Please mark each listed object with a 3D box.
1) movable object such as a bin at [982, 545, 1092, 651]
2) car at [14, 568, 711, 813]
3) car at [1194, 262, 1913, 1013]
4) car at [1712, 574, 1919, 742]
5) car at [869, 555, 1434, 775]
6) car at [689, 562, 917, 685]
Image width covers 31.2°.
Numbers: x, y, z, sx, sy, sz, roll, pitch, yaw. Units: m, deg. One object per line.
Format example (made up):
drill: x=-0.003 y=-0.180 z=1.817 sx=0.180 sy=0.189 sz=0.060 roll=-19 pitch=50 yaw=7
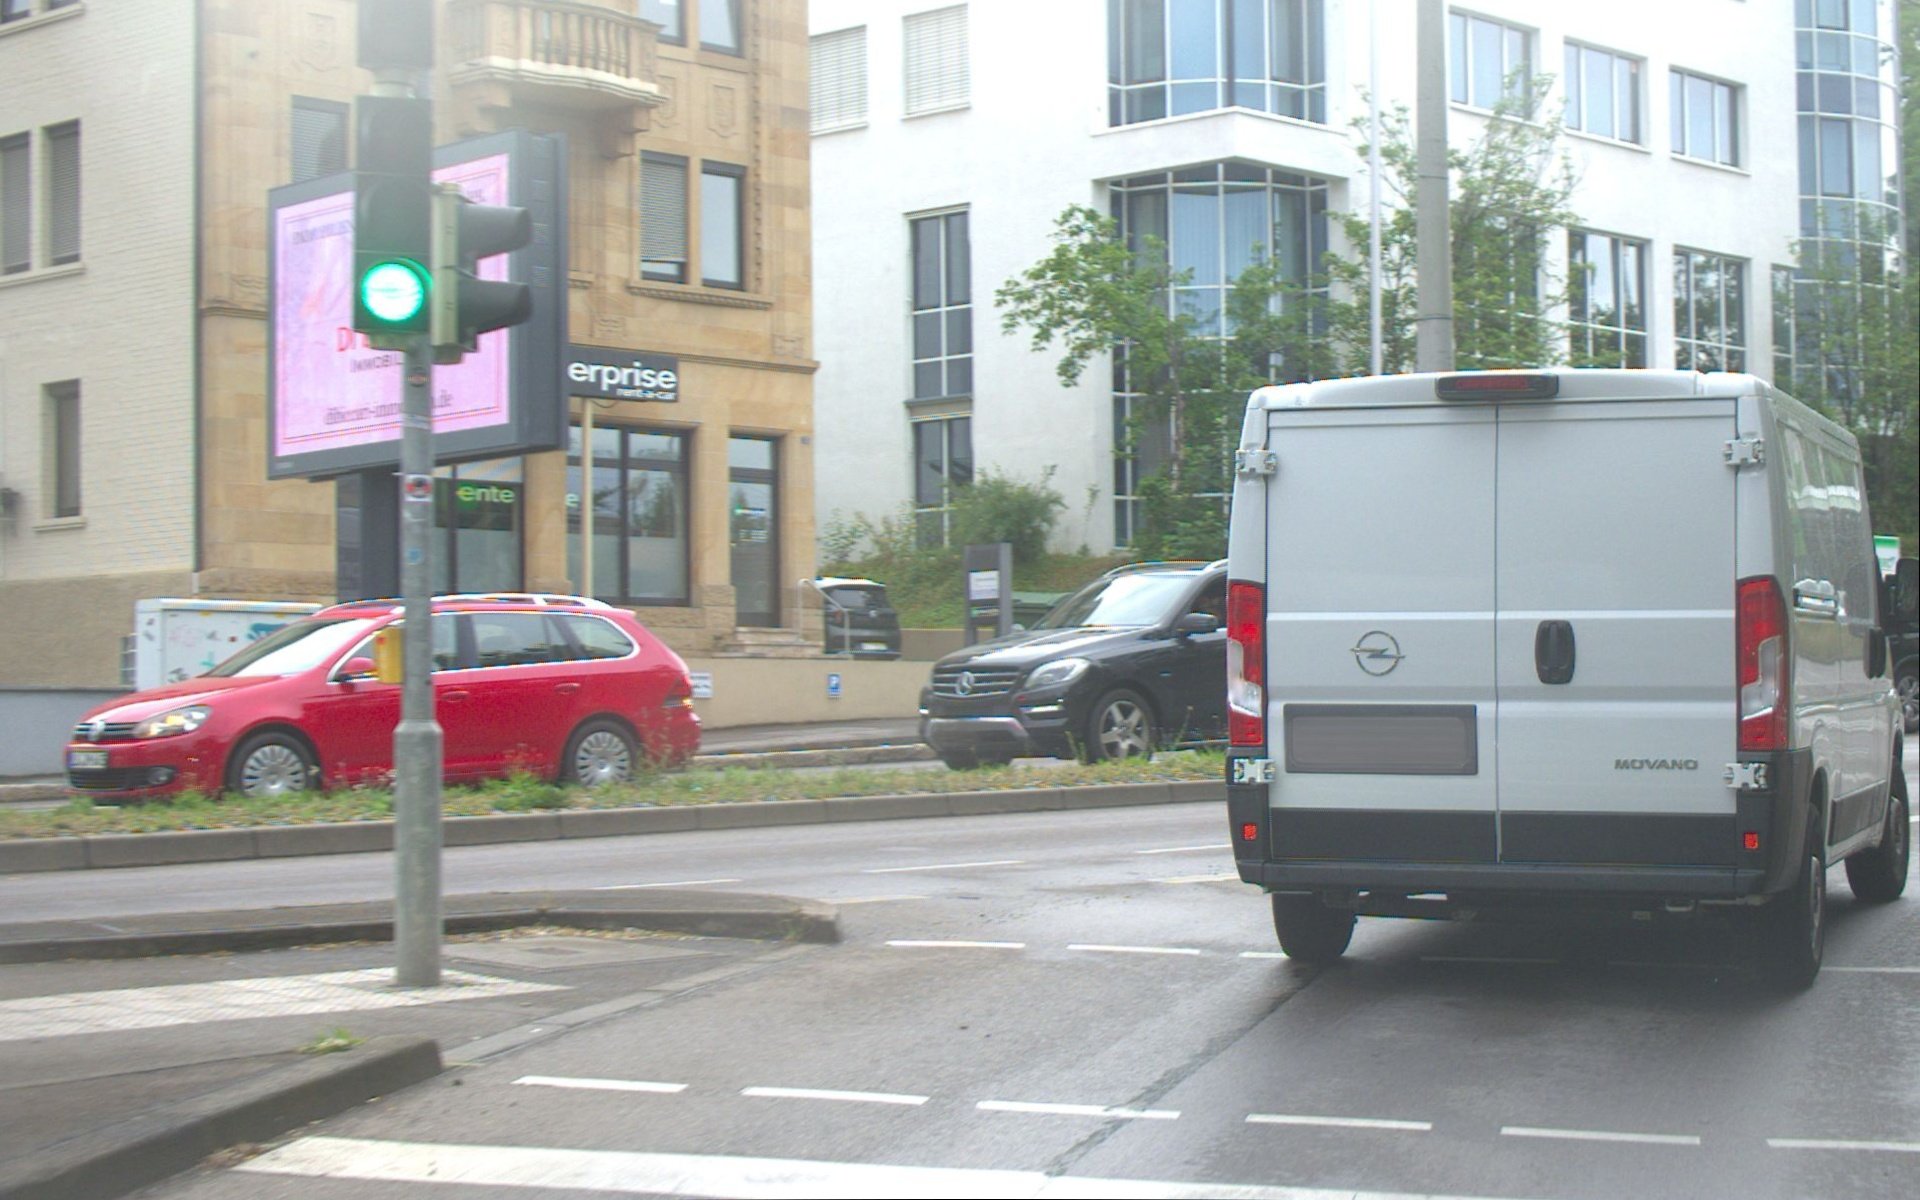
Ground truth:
movable object such as a bin: x=1.141 y=-0.020 z=50.868 sx=1.247 sy=1.536 sz=1.038 roll=-2 pitch=-2 yaw=42
car: x=-4.015 y=0.649 z=23.585 sx=4.429 sy=1.526 sz=1.811 roll=2 pitch=-4 yaw=-42
car: x=2.648 y=0.082 z=14.137 sx=2.052 sy=2.508 sz=4.938 roll=2 pitch=1 yaw=19
car: x=9.809 y=0.636 z=35.199 sx=4.715 sy=1.599 sz=1.693 roll=2 pitch=-4 yaw=-42
car: x=1.662 y=0.514 z=28.680 sx=4.612 sy=1.691 sz=1.960 roll=-1 pitch=-2 yaw=-41
car: x=-2.320 y=0.378 z=50.503 sx=3.050 sy=1.670 sz=1.711 roll=-3 pitch=-4 yaw=43
